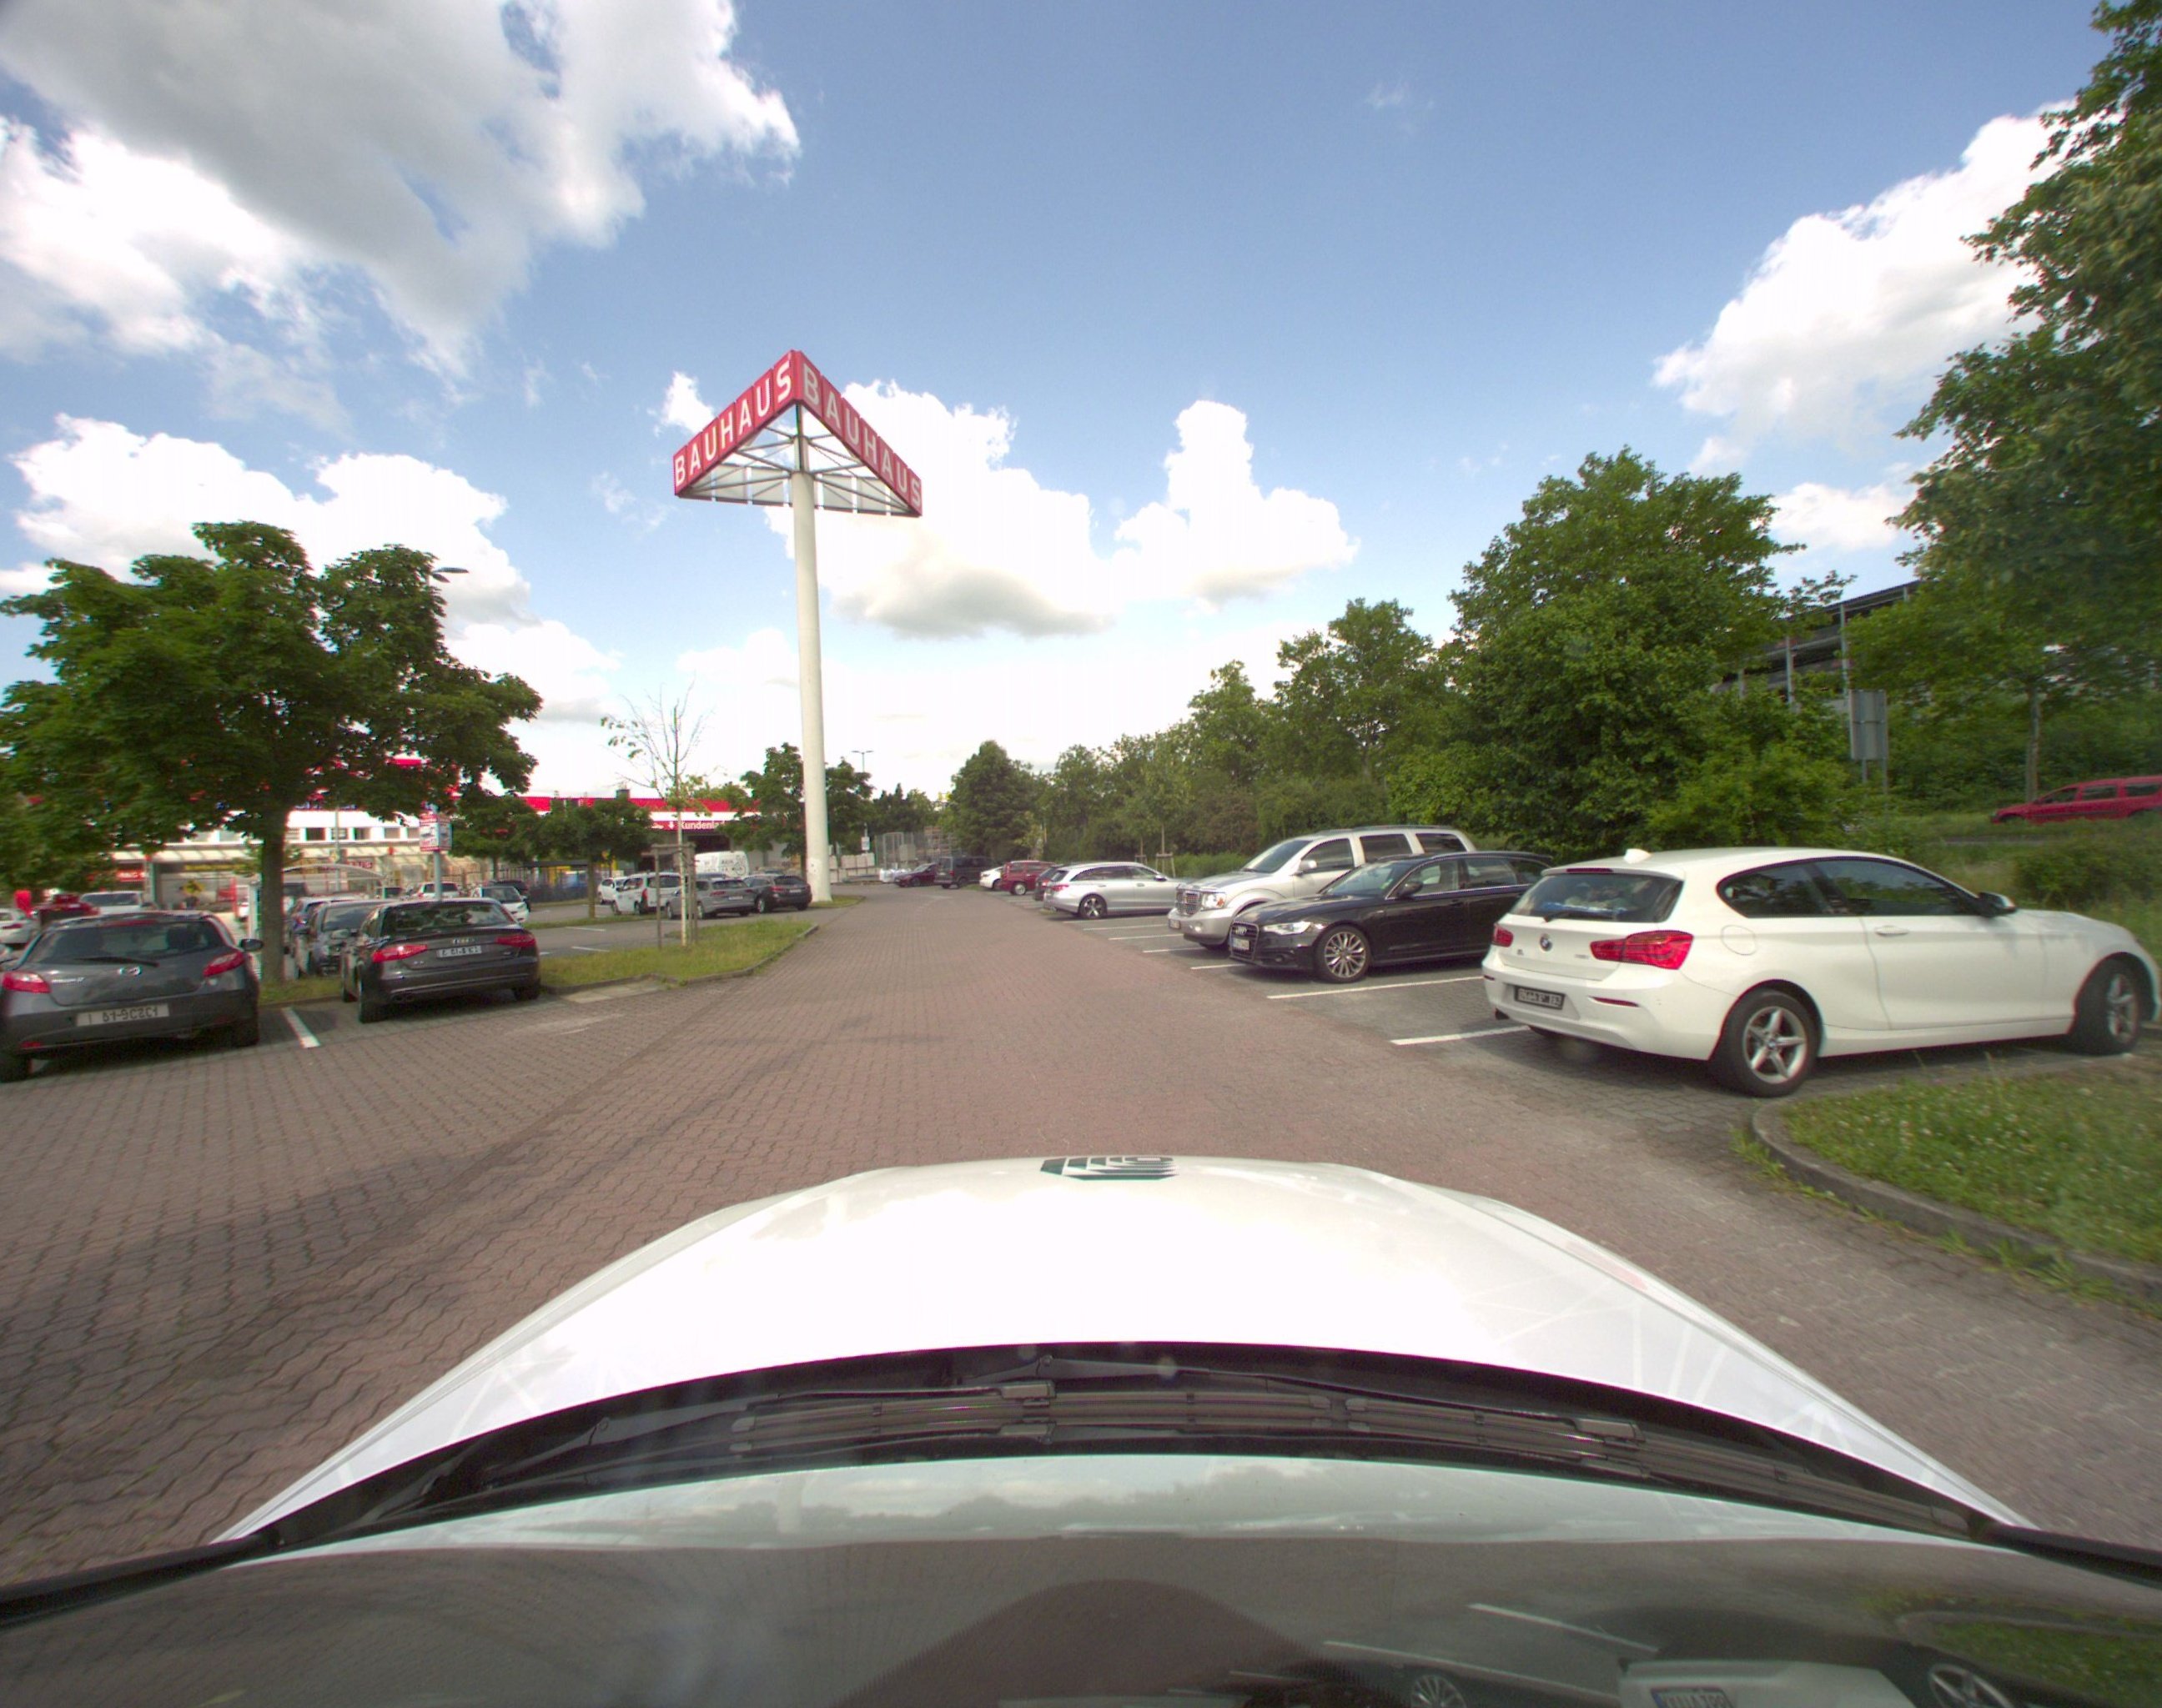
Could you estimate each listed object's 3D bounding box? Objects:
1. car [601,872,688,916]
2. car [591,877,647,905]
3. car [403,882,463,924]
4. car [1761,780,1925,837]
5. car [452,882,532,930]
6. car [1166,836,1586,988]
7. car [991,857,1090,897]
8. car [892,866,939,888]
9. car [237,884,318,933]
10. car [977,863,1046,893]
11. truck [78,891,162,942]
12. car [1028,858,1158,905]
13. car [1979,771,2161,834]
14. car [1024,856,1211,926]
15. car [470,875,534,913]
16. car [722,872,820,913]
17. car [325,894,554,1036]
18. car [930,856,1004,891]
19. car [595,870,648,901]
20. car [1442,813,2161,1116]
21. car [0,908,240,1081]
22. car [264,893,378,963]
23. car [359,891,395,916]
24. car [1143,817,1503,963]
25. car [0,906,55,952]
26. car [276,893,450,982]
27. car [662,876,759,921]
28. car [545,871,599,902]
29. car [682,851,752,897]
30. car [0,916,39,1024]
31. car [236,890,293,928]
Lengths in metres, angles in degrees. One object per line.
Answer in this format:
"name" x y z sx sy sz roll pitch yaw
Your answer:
"car" -18.253 1.676 33.996 3.949 1.596 1.922 -3 -1 42
"car" -24.777 2.000 43.670 3.579 1.405 1.552 -4 -4 42
"car" -30.407 2.285 38.176 3.126 1.743 1.612 -3 1 42
"car" 28.222 -1.639 30.344 1.997 1.808 3.979 -3 0 -15
"car" -22.383 1.958 30.894 3.949 1.596 1.730 -3 0 44
"car" 3.627 0.635 10.331 4.712 1.451 1.832 -3 0 -11
"car" -1.928 1.058 38.390 4.313 1.596 1.990 -3 0 -14
"car" -10.825 1.518 53.361 2.703 1.432 1.339 1 -3 -39
"car" -33.433 2.248 33.866 3.948 1.778 2.013 -3 0 40
"car" -3.909 1.344 45.604 3.636 1.468 1.626 -3 -2 -13
"truck" -41.657 2.670 35.406 1.871 2.014 5.340 2 -4 -45
"car" 0.363 0.906 26.808 3.992 1.381 1.691 -1 -3 -14
"car" 32.210 -1.618 25.819 1.997 1.669 4.571 -3 0 -15
"car" 0.945 0.942 21.741 4.644 1.504 1.777 -3 0 -13
"car" -28.309 1.920 39.783 3.426 1.524 1.776 1 4 42
"car" -12.328 1.539 32.304 4.038 1.439 1.839 -3 0 39
"car" -8.893 1.336 11.127 4.485 1.432 1.783 -3 0 43
"car" -7.035 1.173 50.446 4.080 2.019 1.923 -1 -3 -42
"car" -32.472 2.237 57.529 3.948 2.014 2.012 -4 -4 40
"car" 4.923 0.606 5.716 4.068 1.509 1.685 -3 0 -10
"car" -10.472 1.350 8.874 3.949 1.369 1.589 -3 0 41
"car" -20.864 1.974 22.316 3.676 1.615 1.763 -3 0 40
"car" -42.844 3.020 49.549 2.505 1.425 1.170 -3 -4 38
"car" 3.777 0.489 12.970 5.138 1.842 1.981 -3 0 -14
"car" -38.652 2.695 29.216 3.949 1.509 2.013 -3 0 41
"car" -12.966 1.413 14.632 4.014 1.352 1.804 -4 -4 41
"car" -13.602 1.623 29.828 3.724 1.446 1.736 -3 0 39
"car" -34.772 2.215 55.591 3.948 2.014 2.012 -4 -4 40
"car" -21.379 1.181 47.709 4.669 2.510 2.065 -2 -1 44
"car" -16.188 1.642 11.295 4.226 1.353 1.906 -3 0 41
"car" -46.112 3.089 46.040 2.011 2.014 3.951 1 -4 -42
